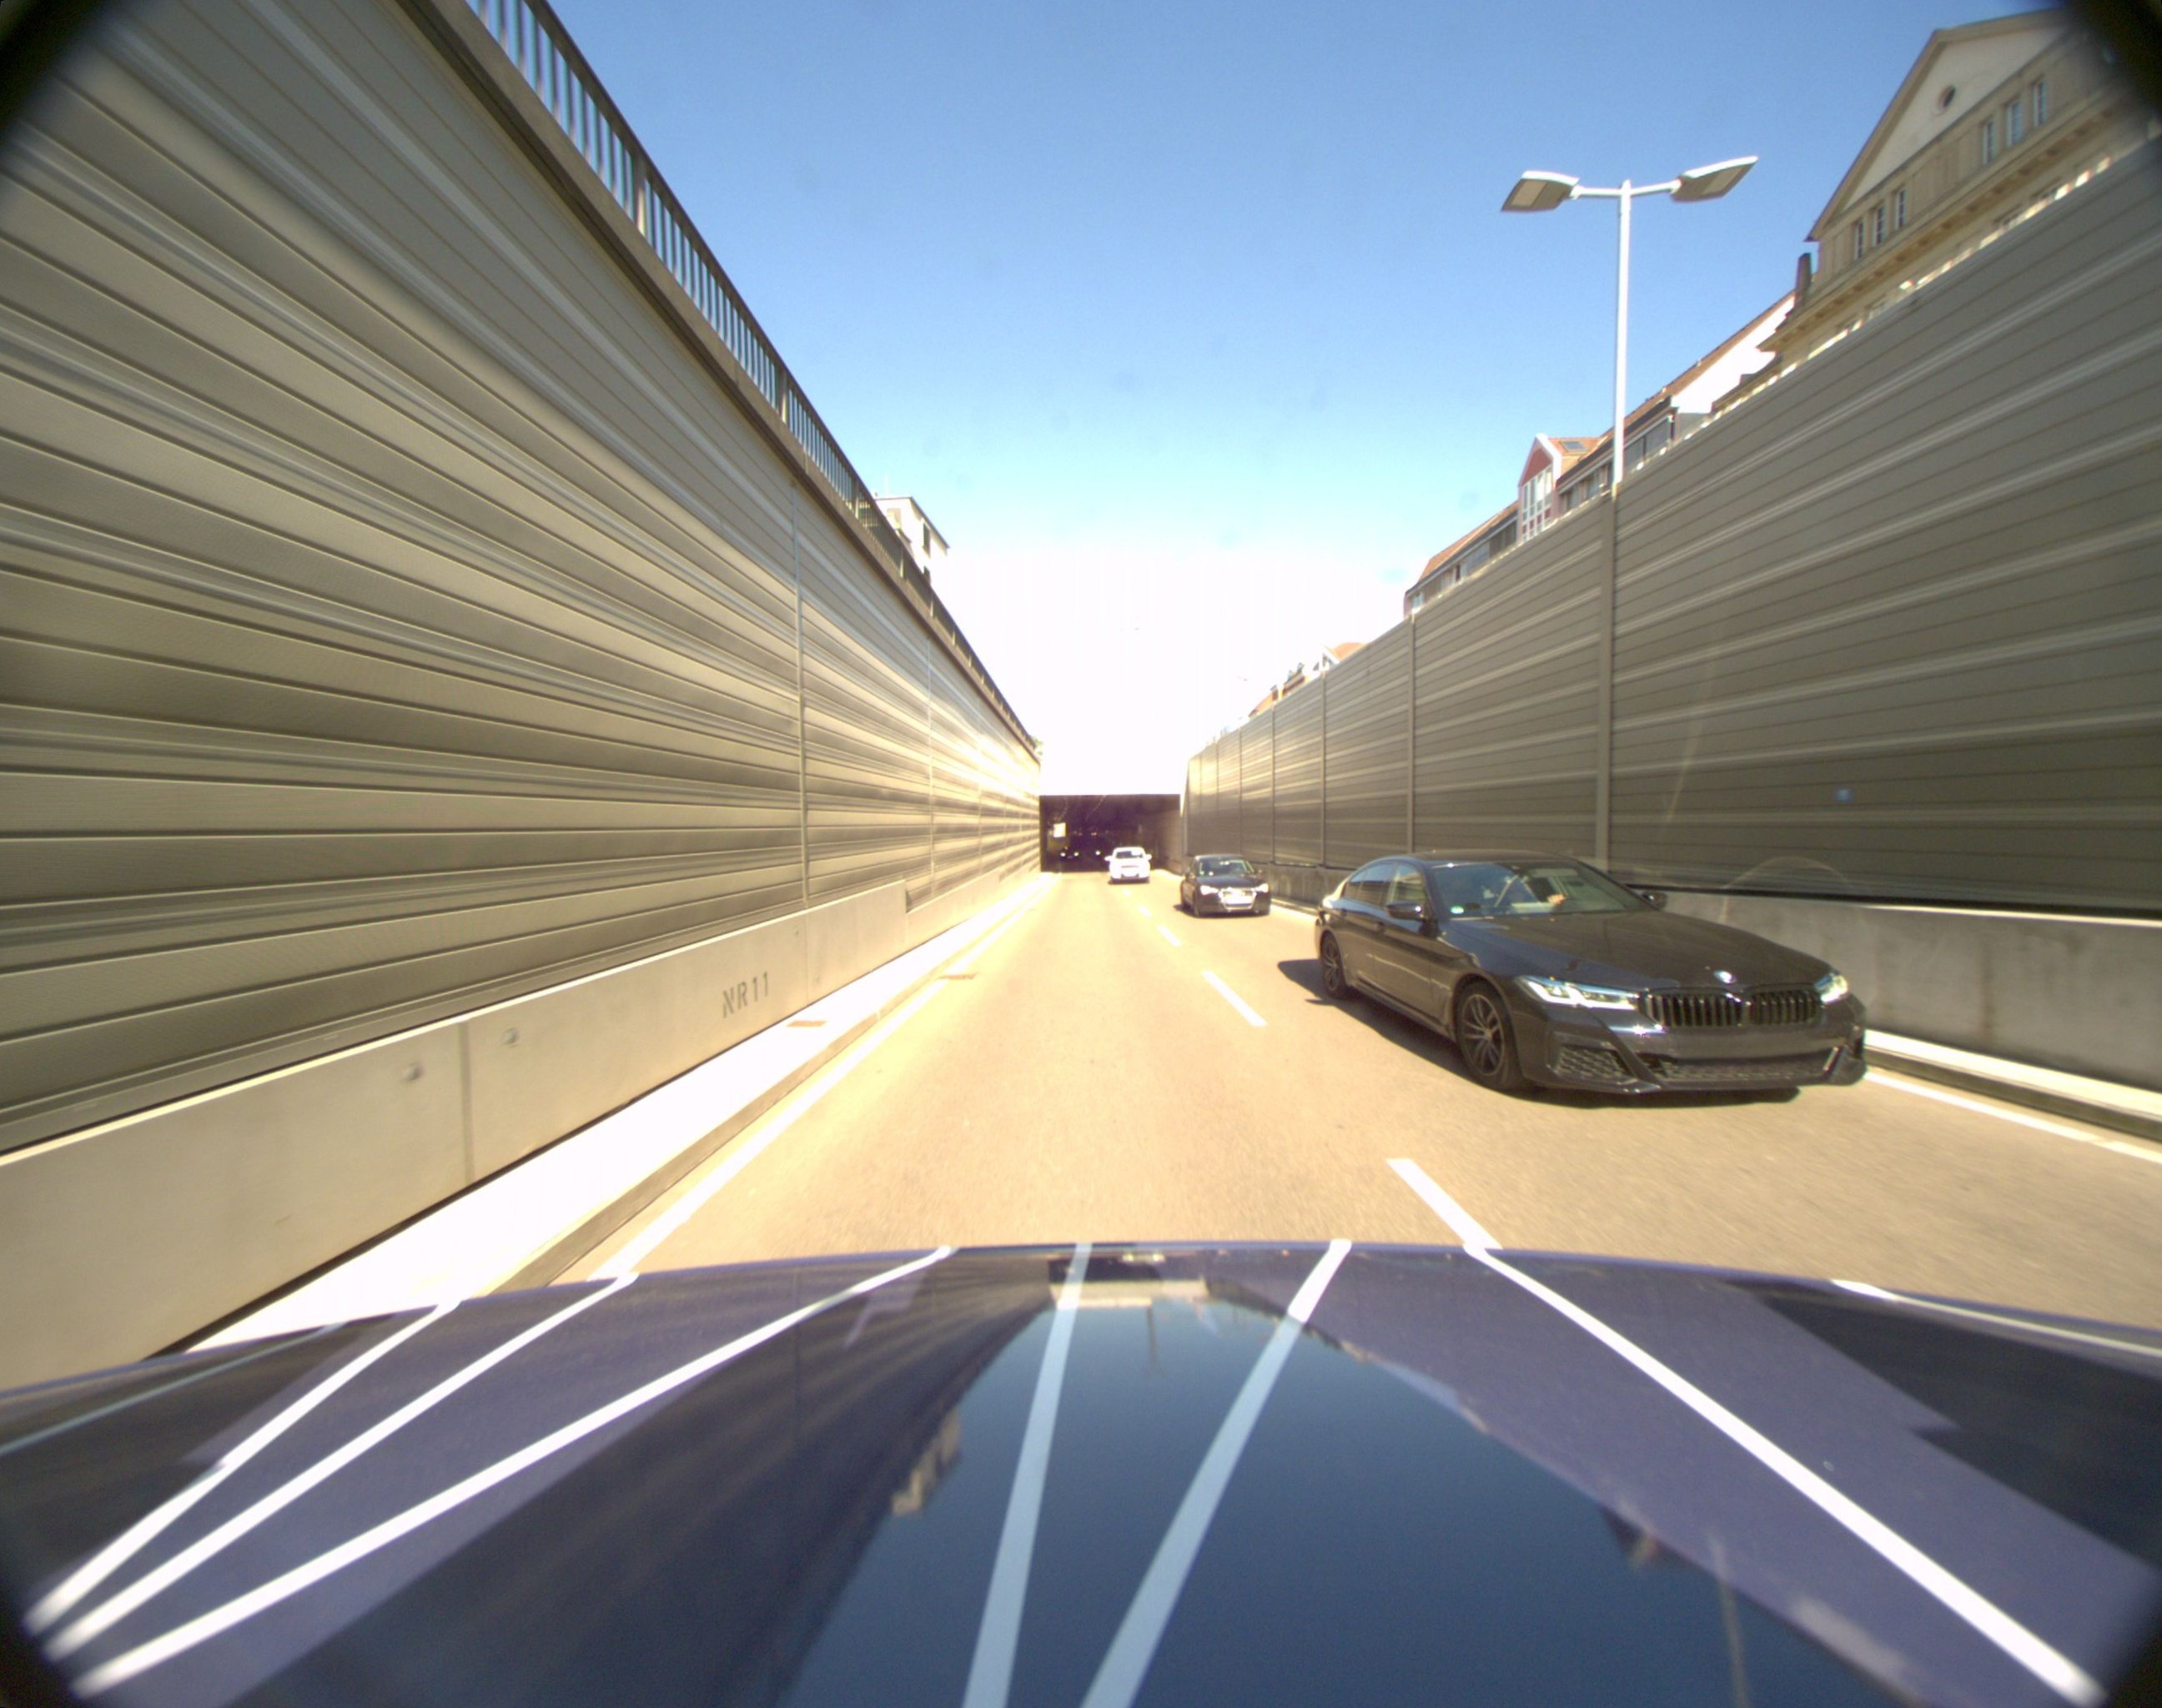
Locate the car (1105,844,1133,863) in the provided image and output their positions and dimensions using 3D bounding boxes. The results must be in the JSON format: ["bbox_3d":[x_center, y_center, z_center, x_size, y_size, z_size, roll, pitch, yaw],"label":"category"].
[{"bbox_3d":[2.973,-0.050,59.933,1.998,1.407,3.999,-2,1,1],"label":"car"}]

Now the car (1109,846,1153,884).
[{"bbox_3d":[2.301,0.472,35.849,1.855,1.658,3.970,-1,1,1],"label":"car"}]

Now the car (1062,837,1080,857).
[{"bbox_3d":[-1.058,-0.749,79.247,1.785,2.002,3.907,-2,2,0],"label":"car"}]

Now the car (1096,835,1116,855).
[{"bbox_3d":[2.731,-1.032,83.664,1.999,2.002,3.998,-2,2,-1],"label":"car"}]

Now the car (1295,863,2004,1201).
[{"bbox_3d":[3.315,0.845,5.980,1.813,1.431,5.002,-2,0,0],"label":"car"}]

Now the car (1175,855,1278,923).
[{"bbox_3d":[3.398,0.764,18.394,1.700,1.410,3.888,-2,0,0],"label":"car"}]
